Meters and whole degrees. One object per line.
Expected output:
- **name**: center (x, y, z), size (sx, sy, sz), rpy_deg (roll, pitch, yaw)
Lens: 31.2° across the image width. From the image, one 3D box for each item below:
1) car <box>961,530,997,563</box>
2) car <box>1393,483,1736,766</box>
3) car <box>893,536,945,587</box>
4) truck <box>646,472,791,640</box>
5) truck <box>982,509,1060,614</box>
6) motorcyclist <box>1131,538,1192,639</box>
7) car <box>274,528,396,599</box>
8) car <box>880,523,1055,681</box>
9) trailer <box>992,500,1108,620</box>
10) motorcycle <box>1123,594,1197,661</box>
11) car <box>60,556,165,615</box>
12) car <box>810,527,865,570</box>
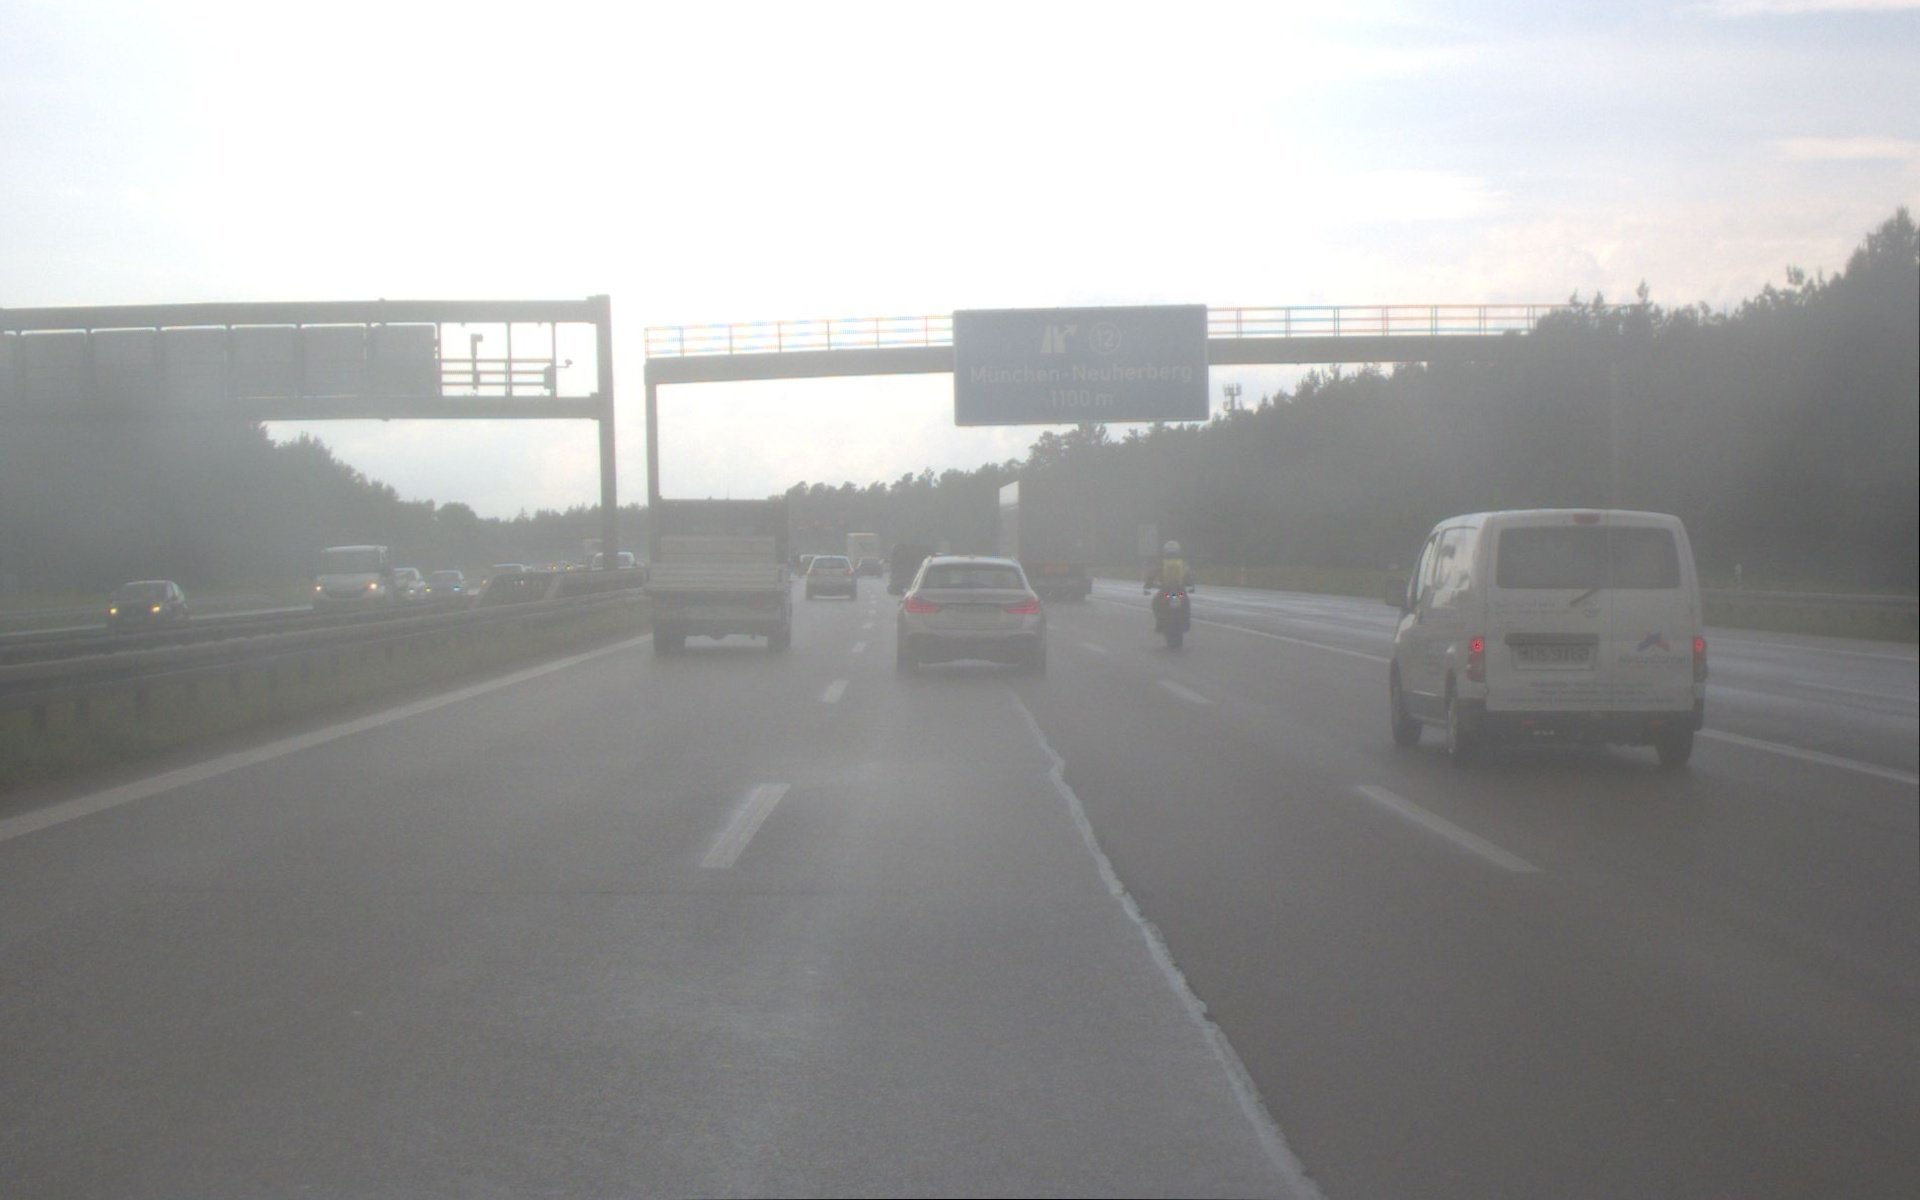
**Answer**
- **car**: center (1.164, -3.309, 212.271), size (1.993, 2.007, 4.000), rpy_deg (1, 1, -3)
- **car**: center (4.414, 0.133, 25.812), size (1.964, 1.895, 4.881), rpy_deg (1, 1, 3)
- **car**: center (-1.663, -1.550, 137.653), size (1.908, 2.007, 4.001), rpy_deg (0, 1, -3)
- **truck**: center (-3.737, -0.682, 53.489), size (2.137, 2.480, 5.313), rpy_deg (0, 1, -4)
- **truck**: center (2.250, -1.428, 128.608), size (2.293, 3.855, 5.393), rpy_deg (0, 1, -6)
- **motorcyclist**: center (3.239, -0.193, 55.379), size (0.891, 1.609, 0.959), rpy_deg (0, 1, -2)
- **car**: center (-18.478, -1.117, 102.027), size (2.283, 2.007, 6.739), rpy_deg (1, 1, 1)
- **car**: center (0.134, -0.017, 43.928), size (2.078, 1.878, 5.011), rpy_deg (1, 1, 1)
- **trailer**: center (3.068, -1.389, 120.943), size (2.323, 3.988, 13.414), rpy_deg (0, 1, -6)
- **motorcycle**: center (3.218, 0.428, 55.512), size (1.000, 1.028, 2.174), rpy_deg (0, 1, -2)
- **car**: center (-21.903, -0.404, 88.989), size (1.672, 1.454, 4.562), rpy_deg (-1, 1, -2)
- **car**: center (-4.207, -1.757, 118.237), size (1.831, 1.461, 4.000), rpy_deg (0, 1, -2)
